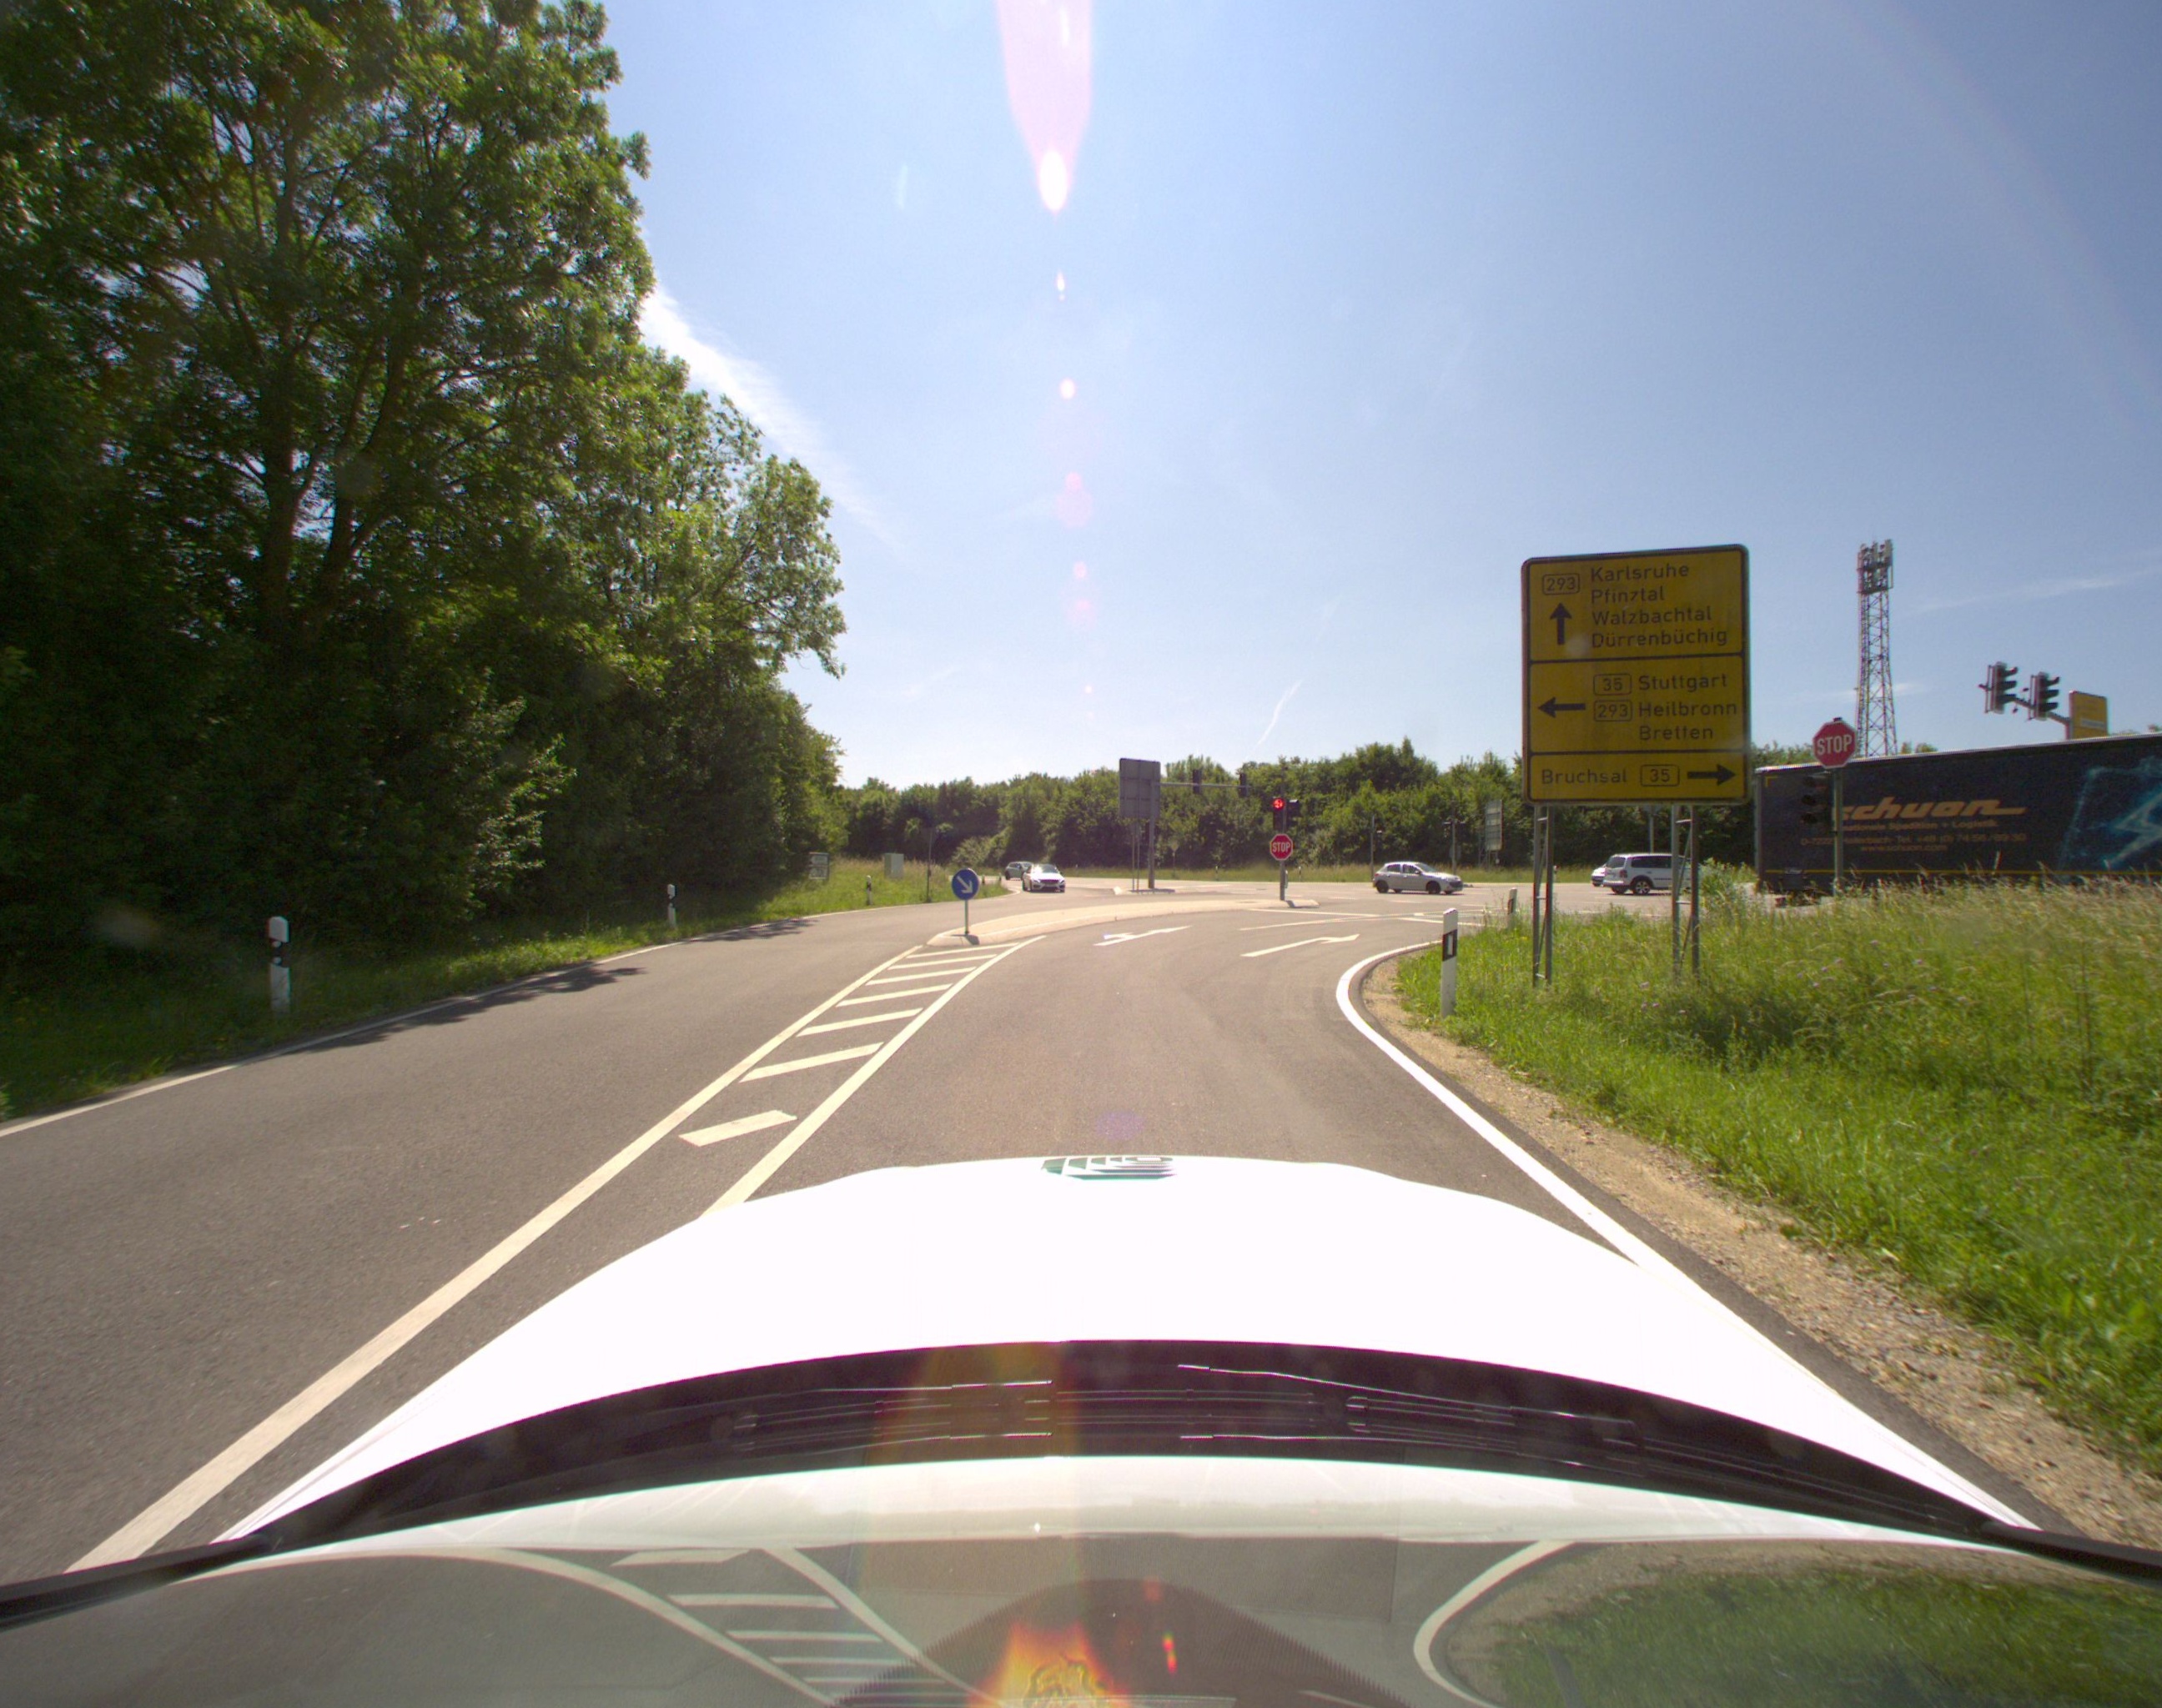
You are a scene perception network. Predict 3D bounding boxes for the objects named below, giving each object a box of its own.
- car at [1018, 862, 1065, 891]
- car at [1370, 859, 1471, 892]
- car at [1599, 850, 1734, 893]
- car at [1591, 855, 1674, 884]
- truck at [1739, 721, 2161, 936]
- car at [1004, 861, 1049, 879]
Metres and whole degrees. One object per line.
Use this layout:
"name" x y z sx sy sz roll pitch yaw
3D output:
"car" -2.195 1.186 43.877 1.805 1.412 5.313 1 0 -11
"car" 15.213 0.944 36.620 1.828 1.413 3.738 -1 0 -42
"car" 23.534 0.703 32.894 4.022 1.625 1.823 -1 -1 9
"car" 27.871 0.785 41.164 3.526 1.370 1.562 -1 0 -15
"truck" 22.680 -0.509 15.042 2.858 4.131 16.662 0 0 -27
"car" -4.494 1.311 66.489 1.743 1.404 3.941 -1 0 -39
